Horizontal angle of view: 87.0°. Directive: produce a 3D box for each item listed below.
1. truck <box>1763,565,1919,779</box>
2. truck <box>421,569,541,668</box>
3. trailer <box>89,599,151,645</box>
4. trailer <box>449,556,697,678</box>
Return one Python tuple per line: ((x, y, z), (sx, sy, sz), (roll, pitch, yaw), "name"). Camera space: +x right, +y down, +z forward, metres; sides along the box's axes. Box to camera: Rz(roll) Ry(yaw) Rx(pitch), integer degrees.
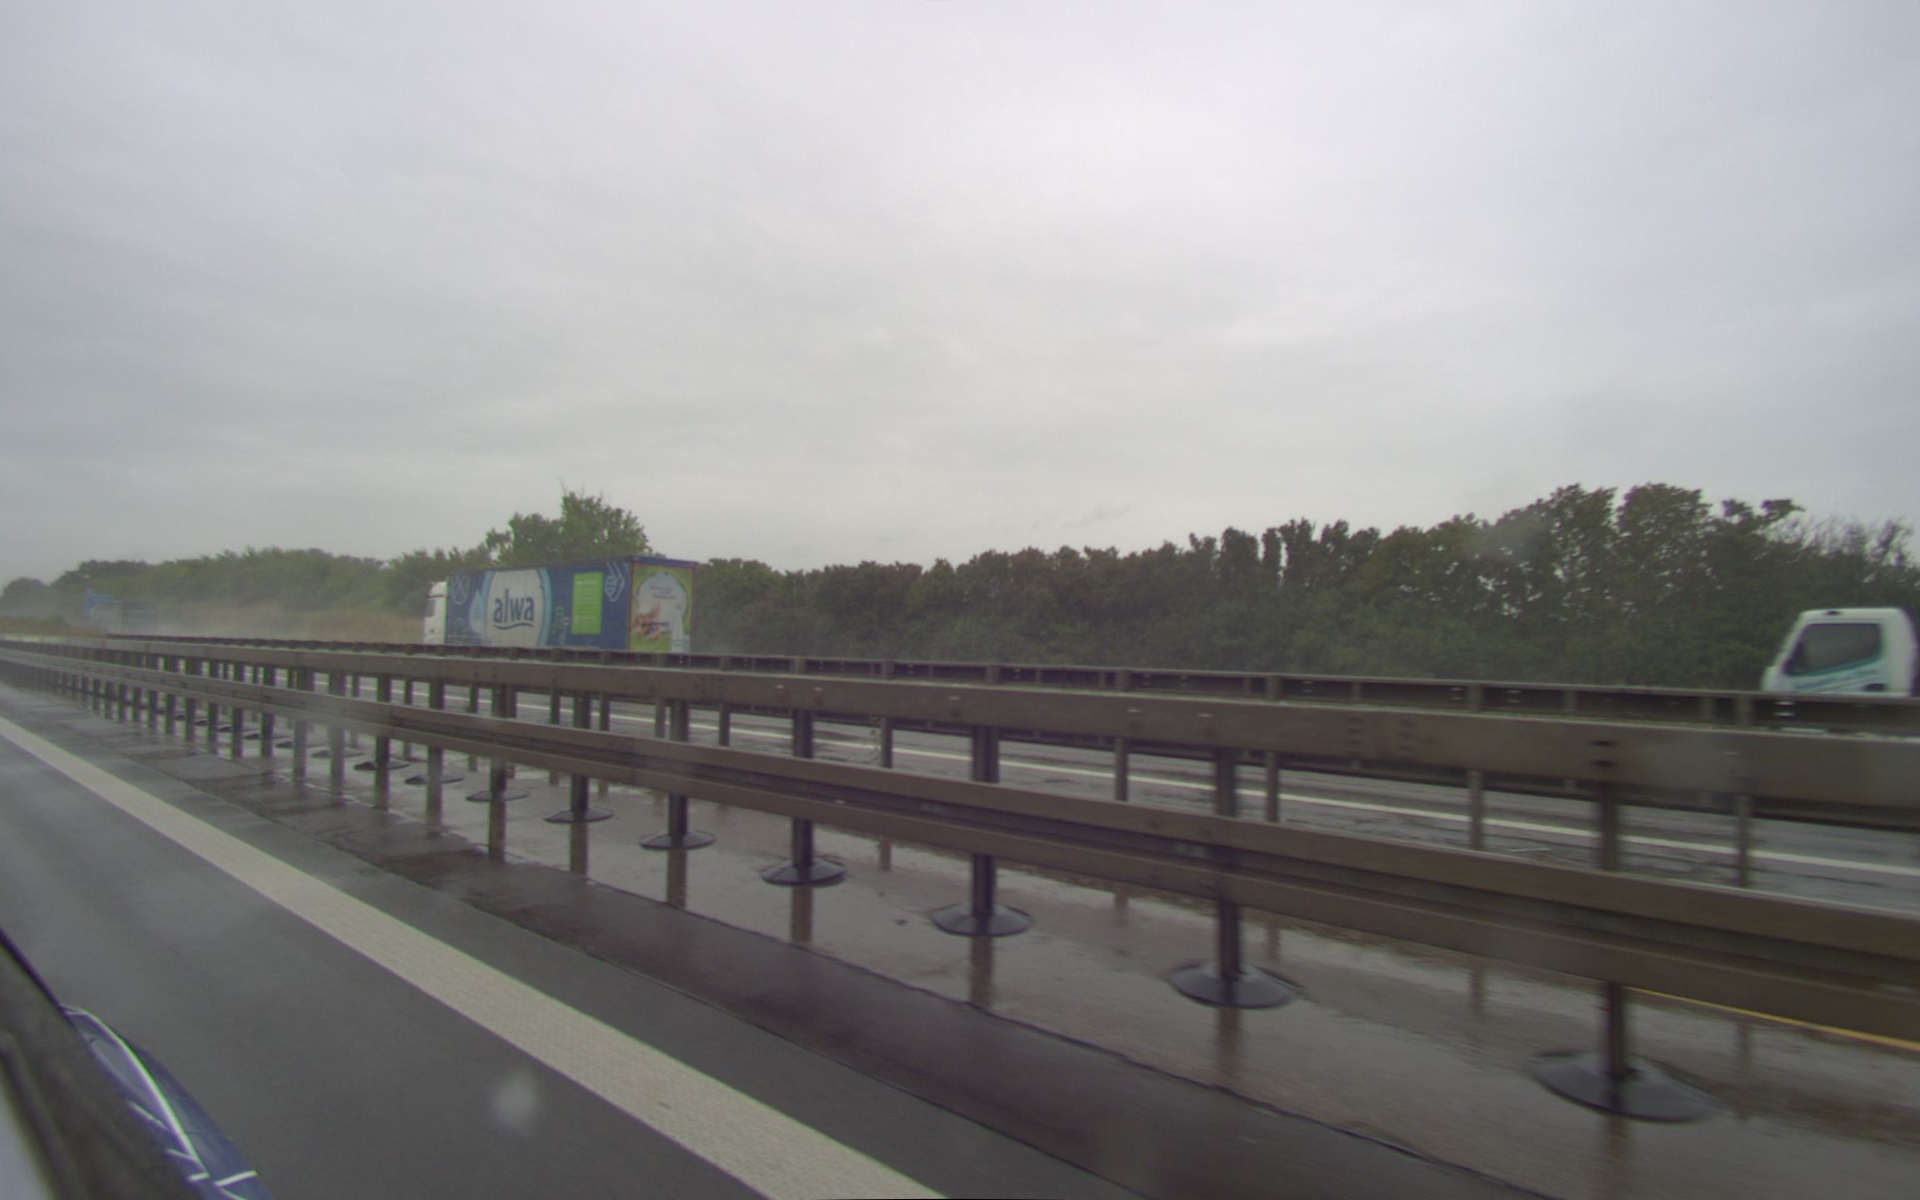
((13.796, 0.858, 12.262), (6.260, 2.639, 2.303), (-1, -1, 41), "truck")
((-19.982, 0.761, 42.095), (5.398, 3.834, 2.595), (-1, -1, 41), "truck")
((-75.806, 1.981, 91.236), (13.606, 3.833, 2.271), (-1, -1, 42), "trailer")
((-14.771, 0.639, 37.466), (13.579, 3.833, 2.606), (-1, -1, 42), "trailer")
